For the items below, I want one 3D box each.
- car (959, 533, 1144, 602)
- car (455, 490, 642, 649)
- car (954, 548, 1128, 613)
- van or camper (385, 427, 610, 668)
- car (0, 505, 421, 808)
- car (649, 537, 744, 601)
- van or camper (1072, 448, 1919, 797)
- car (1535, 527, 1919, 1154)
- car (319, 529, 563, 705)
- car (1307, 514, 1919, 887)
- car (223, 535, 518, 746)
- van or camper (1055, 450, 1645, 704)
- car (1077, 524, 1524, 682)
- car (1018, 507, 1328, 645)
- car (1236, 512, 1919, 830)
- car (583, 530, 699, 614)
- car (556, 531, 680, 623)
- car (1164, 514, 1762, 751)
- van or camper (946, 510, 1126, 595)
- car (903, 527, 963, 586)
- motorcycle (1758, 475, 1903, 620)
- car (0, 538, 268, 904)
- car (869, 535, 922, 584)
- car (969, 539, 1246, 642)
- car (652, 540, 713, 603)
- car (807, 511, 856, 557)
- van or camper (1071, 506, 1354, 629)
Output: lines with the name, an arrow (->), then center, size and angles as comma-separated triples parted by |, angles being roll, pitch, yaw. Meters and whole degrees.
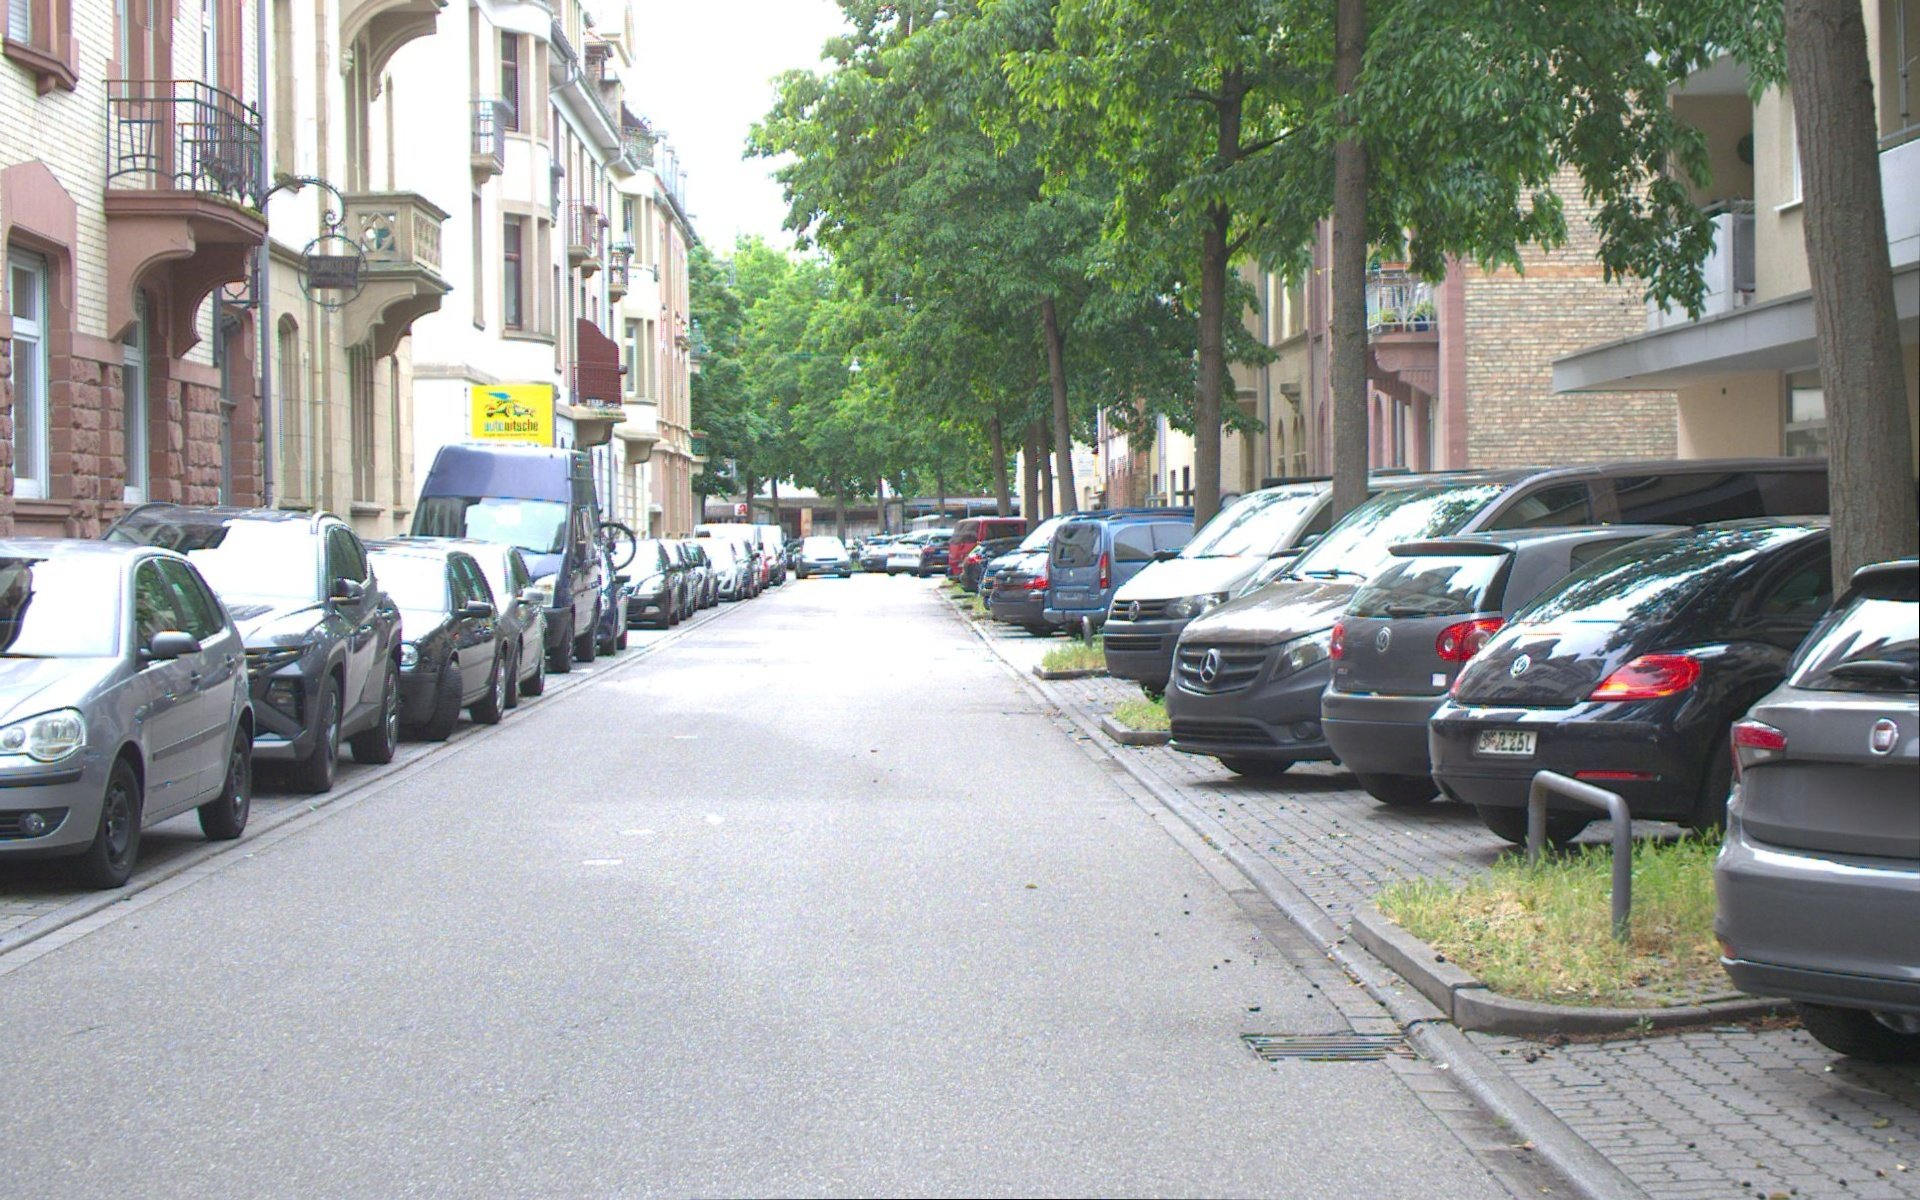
car -> 1.938, -0.710, 73.776 | 3.760, 1.460, 1.729 | 0, 1, -6
car -> -5.433, -0.429, 45.963 | 1.993, 2.007, 4.891 | 0, 1, -1
car -> 1.823, -0.460, 78.348 | 3.760, 1.460, 1.729 | 0, 1, -6
van or camper -> -5.334, -0.628, 40.302 | 2.008, 2.642, 5.316 | 0, 1, -1
car -> -4.505, 0.263, 21.101 | 1.786, 1.641, 4.362 | 1, 1, -1
car -> -6.150, -0.751, 80.678 | 1.993, 1.470, 4.000 | 0, 1, -1
van or camper -> 3.430, 0.078, 21.480 | 5.005, 1.863, 2.127 | -3, 1, -29
car -> 3.913, 0.494, 9.626 | 4.213, 1.495, 1.976 | -3, 1, -31
car -> -4.654, 0.147, 31.286 | 1.667, 1.468, 4.000 | 1, 0, -1
car -> 3.847, 0.362, 15.771 | 4.039, 1.478, 1.948 | -2, 1, -27
car -> -4.446, 0.249, 26.445 | 1.634, 1.468, 4.000 | 1, 1, -1
van or camper -> 3.432, -0.207, 30.189 | 4.729, 1.987, 2.000 | -2, -1, -26
car -> 3.562, 0.007, 35.736 | 4.301, 1.388, 1.923 | -3, 2, -32
car -> 3.206, -0.367, 51.681 | 4.172, 1.863, 2.000 | -3, 1, -31
car -> 3.651, 0.318, 18.677 | 3.849, 1.497, 1.913 | -2, 1, -30
car -> -5.825, -0.526, 63.086 | 1.829, 1.422, 3.802 | 2, 1, -2
car -> -5.676, -0.407, 57.498 | 1.789, 1.475, 4.023 | 1, 1, -2
car -> 3.665, 0.196, 24.872 | 3.995, 1.439, 1.841 | -3, 2, -32
van or camper -> 1.944, -1.222, 87.761 | 4.146, 2.078, 1.953 | -1, 1, -29
car -> -1.007, -1.588, 124.908 | 1.993, 2.007, 4.000 | 2, 1, -2
motorcycle -> 8.241, -0.500, 32.640 | 0.678, 1.296, 2.253 | -3, 1, -2
car -> -4.333, 0.444, 15.613 | 1.662, 1.416, 3.929 | 1, 1, -1
car -> -2.478, -1.546, 131.751 | 1.993, 1.788, 4.000 | 1, 0, -1
car -> 2.347, -0.178, 54.501 | 4.010, 1.554, 1.884 | -1, 1, -32
car -> -5.896, -0.612, 73.132 | 1.135, 1.305, 3.261 | 0, 1, -2
car -> -4.857, -2.505, 130.432 | 1.821, 1.639, 3.754 | 1, 0, -2
van or camper -> 4.550, -0.612, 61.795 | 4.775, 2.130, 2.055 | -1, 1, -32
